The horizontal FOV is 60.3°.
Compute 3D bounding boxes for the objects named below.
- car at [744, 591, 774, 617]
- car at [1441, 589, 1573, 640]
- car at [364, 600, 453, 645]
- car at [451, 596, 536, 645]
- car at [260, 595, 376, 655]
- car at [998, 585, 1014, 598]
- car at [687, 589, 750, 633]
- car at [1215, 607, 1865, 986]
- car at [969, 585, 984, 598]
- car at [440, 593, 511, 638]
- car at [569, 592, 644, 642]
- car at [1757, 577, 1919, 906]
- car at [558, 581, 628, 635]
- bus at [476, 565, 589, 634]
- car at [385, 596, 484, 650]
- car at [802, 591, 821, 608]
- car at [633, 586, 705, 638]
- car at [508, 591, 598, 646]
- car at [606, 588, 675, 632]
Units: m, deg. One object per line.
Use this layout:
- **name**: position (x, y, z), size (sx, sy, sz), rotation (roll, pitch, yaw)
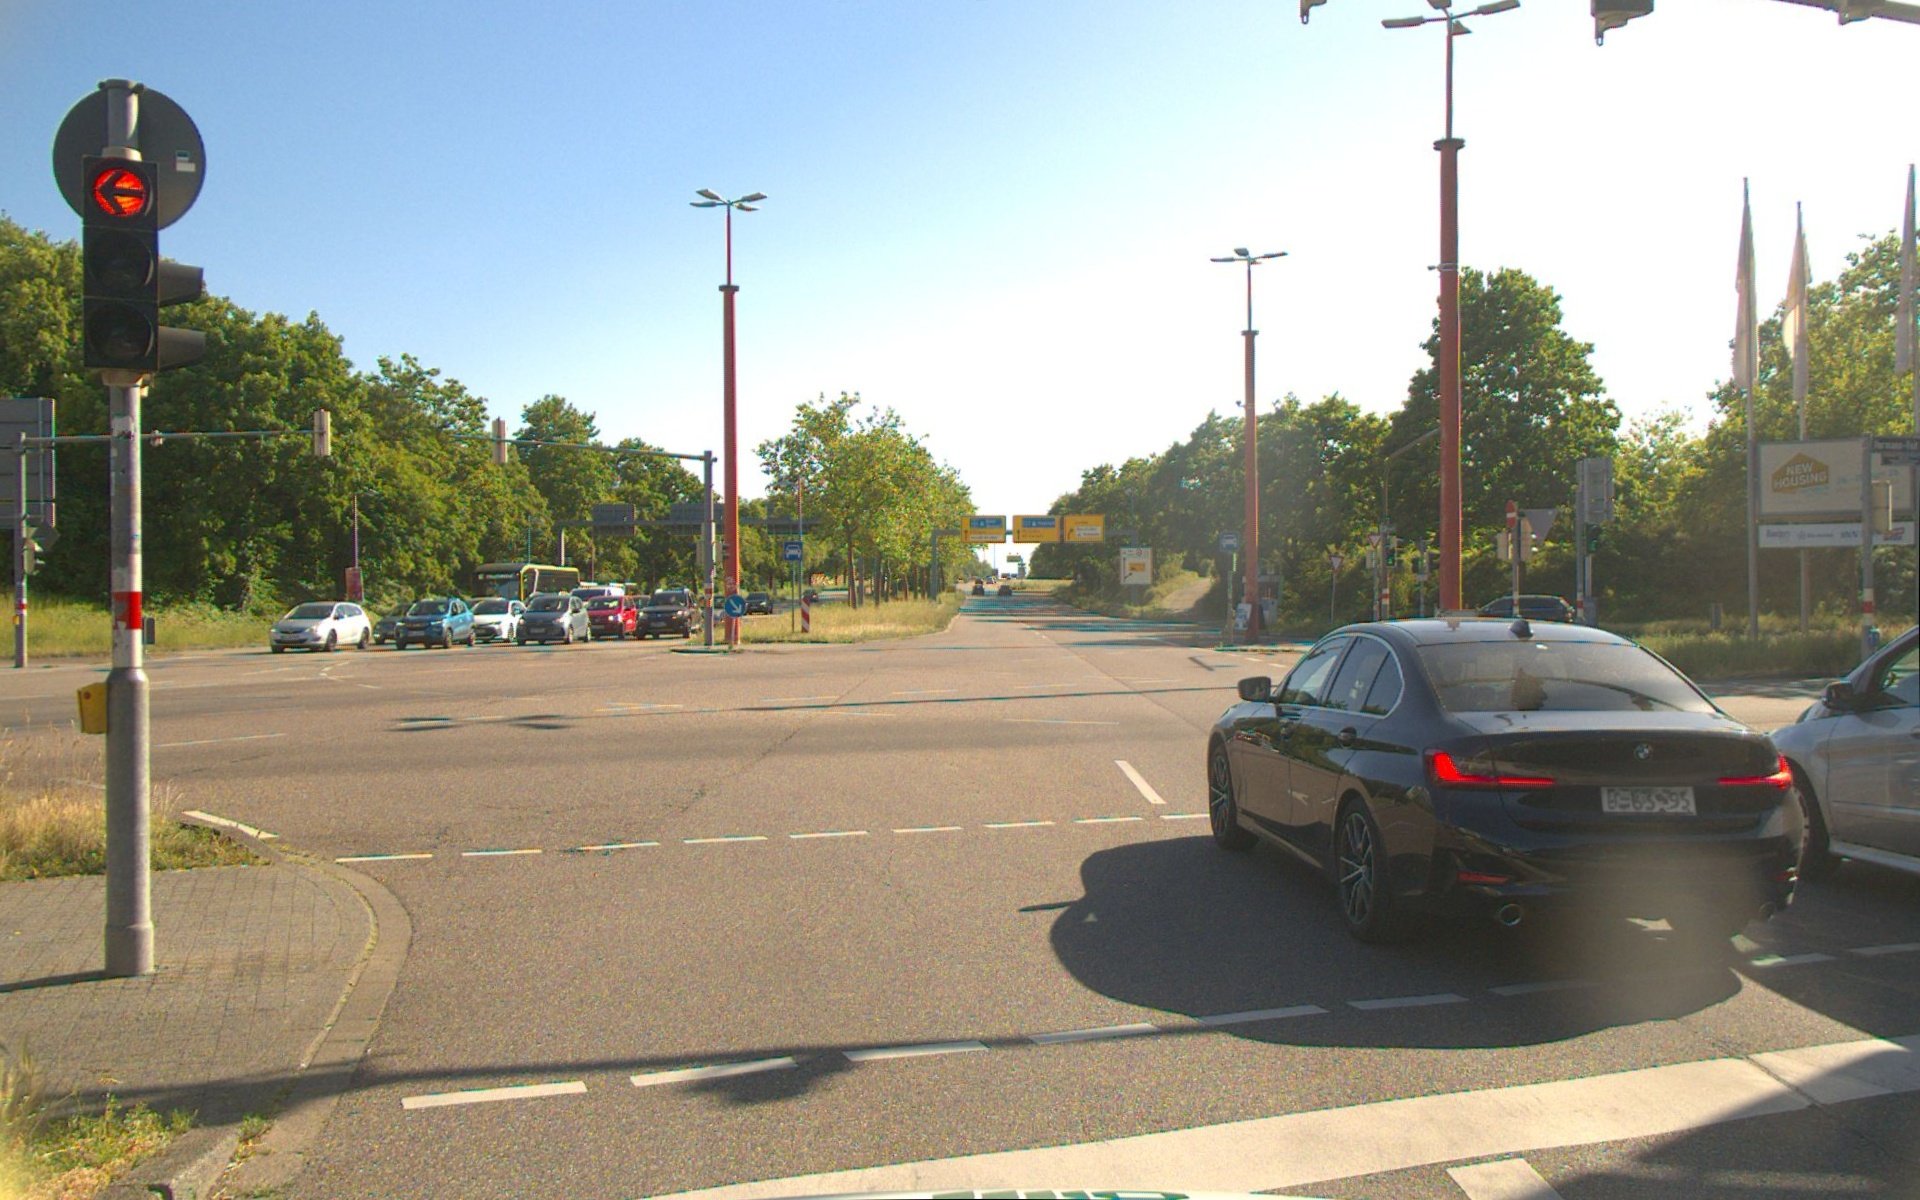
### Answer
- **car**: position (-15.026, 0.266, 123.531), size (1.800, 1.869, 3.960), rotation (0, 0, -1)
- **car**: position (18.769, 0.483, 56.773), size (4.196, 1.664, 1.769), rotation (1, 0, 21)
- **car**: position (-19.889, 0.779, 59.791), size (1.846, 1.539, 4.000), rotation (-1, 0, 0)
- **car**: position (-16.033, 0.668, 57.025), size (1.863, 1.582, 3.998), rotation (-1, 0, -2)
- **car**: position (-19.543, 0.741, 50.538), size (1.838, 1.681, 4.219), rotation (-1, 0, 0)
- **car**: position (6.307, -1.189, 227.837), size (1.953, 1.764, 3.999), rotation (1, 0, -1)
- **car**: position (-9.297, 0.399, 63.855), size (1.847, 1.570, 3.999), rotation (-2, 0, -1)
- **car**: position (2.623, 0.786, 8.650), size (1.728, 1.466, 4.292), rotation (1, 0, -3)
- **car**: position (2.295, -1.115, 226.286), size (1.953, 1.764, 3.999), rotation (1, 0, -1)
- **car**: position (-19.452, 0.645, 66.496), size (1.742, 1.681, 3.972), rotation (-3, -1, -2)
- **car**: position (-12.447, 0.587, 58.428), size (1.838, 1.579, 3.998), rotation (-3, 0, -2)
- **car**: position (5.630, 0.717, 7.988), size (1.681, 1.636, 3.846), rotation (1, 0, -1)
- **car**: position (-15.621, 0.336, 70.584), size (1.922, 2.193, 5.080), rotation (-1, 0, -1)
- **bus**: position (-22.263, -0.002, 86.935), size (2.591, 3.318, 12.535), rotation (1, 0, 0)
- **car**: position (-16.105, 0.687, 50.873), size (1.764, 1.542, 3.858), rotation (-2, 0, 0)
- **car**: position (-17.495, -0.068, 194.557), size (1.881, 2.034, 4.602), rotation (0, 0, -1)
- **car**: position (-9.839, 0.389, 56.208), size (1.757, 1.654, 4.142), rotation (-2, 0, -2)
- **car**: position (-12.770, 0.556, 52.085), size (1.836, 1.577, 4.027), rotation (-2, 1, -1)
- **car**: position (-12.406, 0.372, 64.428), size (1.862, 1.658, 4.000), rotation (0, 0, 1)
